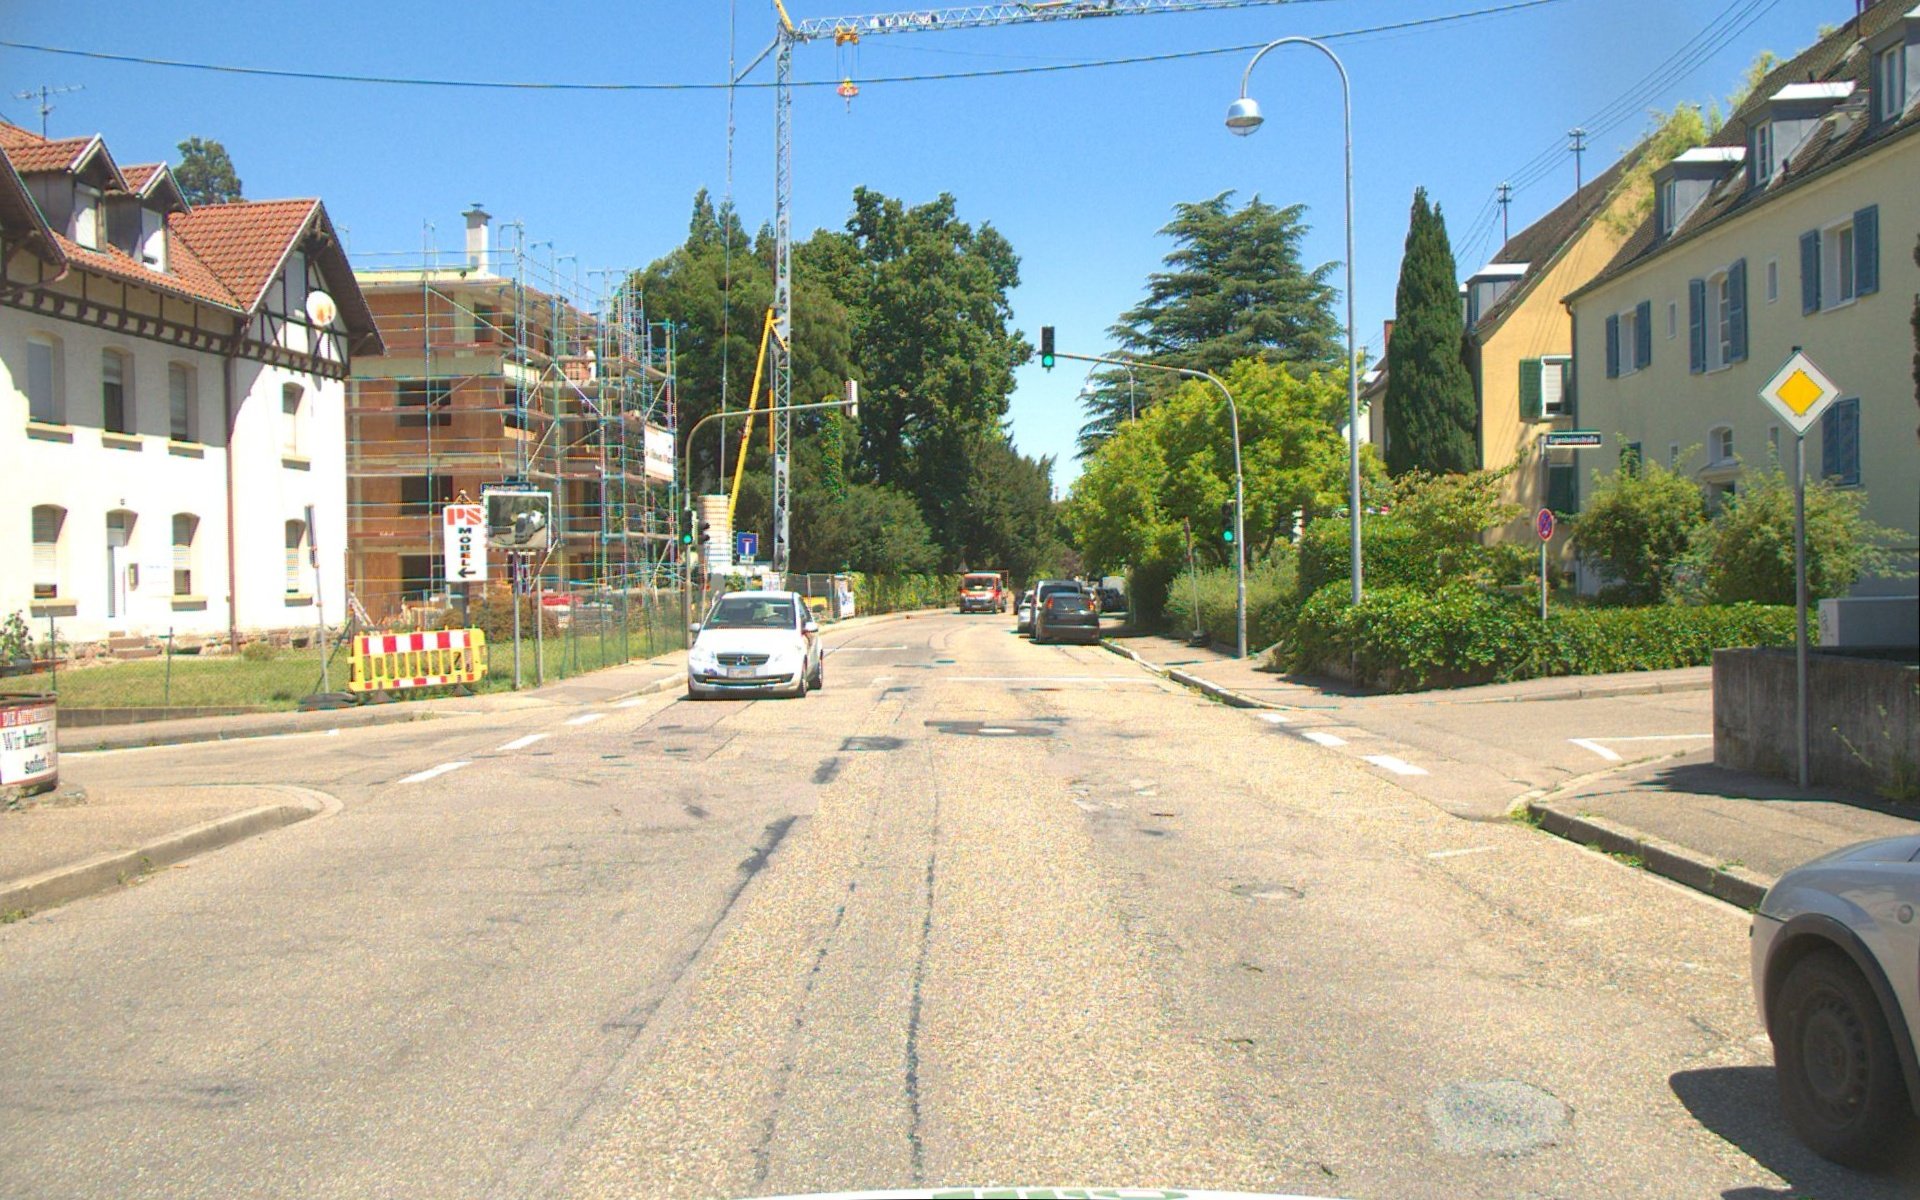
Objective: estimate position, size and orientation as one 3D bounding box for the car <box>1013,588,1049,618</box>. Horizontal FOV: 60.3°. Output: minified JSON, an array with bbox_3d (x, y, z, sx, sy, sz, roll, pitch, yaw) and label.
[{"bbox_3d":[3.778,0.129,88.013,1.756,1.536,4.002,1,0,4],"label":"car"}]

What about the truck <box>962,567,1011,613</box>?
[{"bbox_3d":[1.500,-0.574,91.801,2.082,2.379,6.439,-1,1,6],"label":"truck"}]

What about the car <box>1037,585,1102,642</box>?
[{"bbox_3d":[3.112,0.359,47.557,1.595,1.488,4.016,2,0,0],"label":"car"}]

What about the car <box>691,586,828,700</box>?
[{"bbox_3d":[-3.057,0.608,25.854,1.618,1.589,3.885,-2,0,0],"label":"car"}]

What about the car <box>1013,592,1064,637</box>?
[{"bbox_3d":[2.749,0.479,57.568,1.627,1.460,4.131,1,0,4],"label":"car"}]

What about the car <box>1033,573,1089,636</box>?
[{"bbox_3d":[3.141,0.116,52.238,1.627,1.834,4.204,2,0,2],"label":"car"}]

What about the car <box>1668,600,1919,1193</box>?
[{"bbox_3d":[3.287,0.774,3.526,1.633,1.491,3.997,2,0,-3],"label":"car"}]

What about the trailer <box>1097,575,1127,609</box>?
[{"bbox_3d":[9.798,-0.561,106.676,1.644,2.104,3.712,1,1,9],"label":"trailer"}]
